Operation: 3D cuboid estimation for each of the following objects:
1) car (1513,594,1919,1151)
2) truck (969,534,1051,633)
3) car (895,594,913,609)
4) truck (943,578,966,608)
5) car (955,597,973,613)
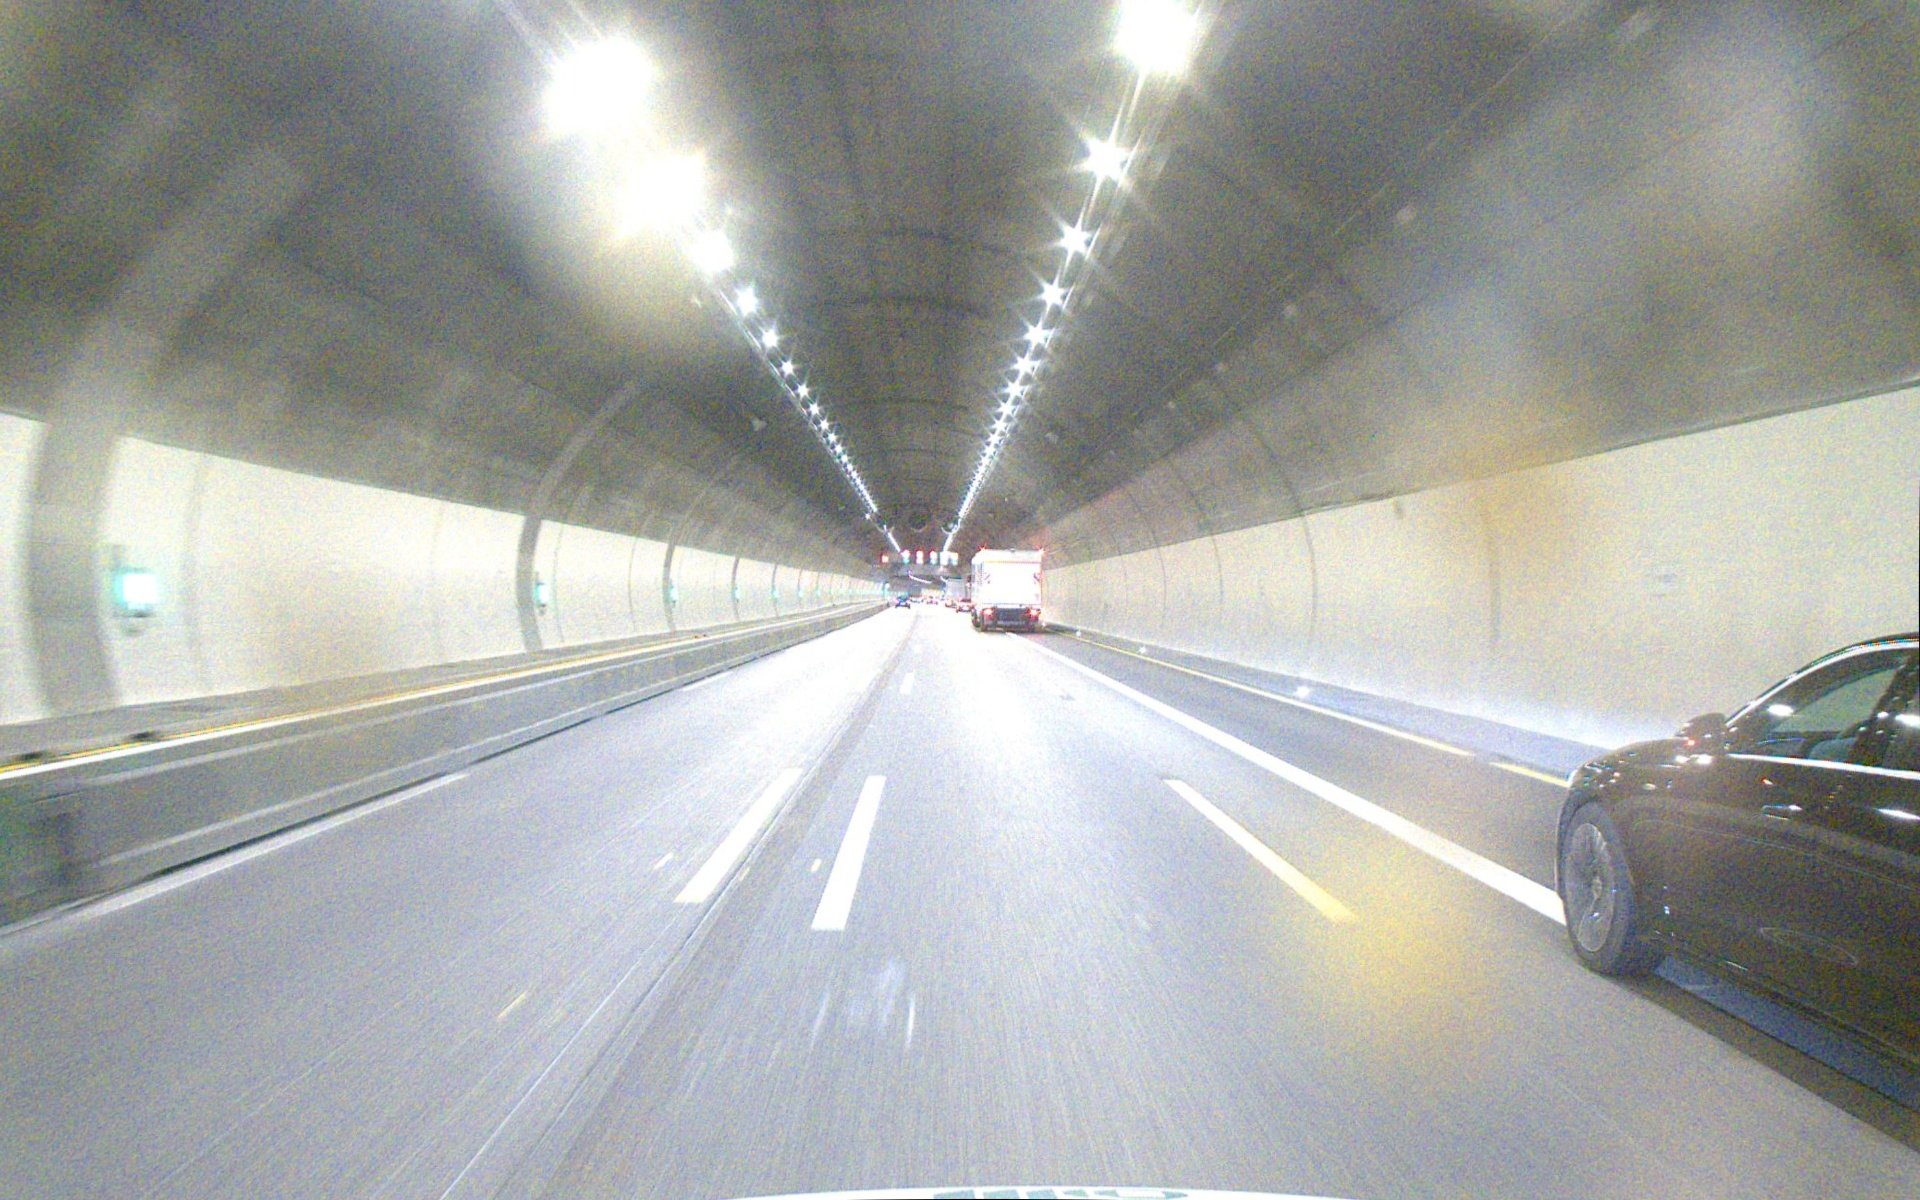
[{"bbox_3d":[3.537,0.765,5.157,1.886,1.498,4.953,2,0,-1],"label":"car"},{"bbox_3d":[2.094,-0.625,73.436,3.029,3.986,10.365,2,-1,-1],"label":"truck"},{"bbox_3d":[-5.866,0.147,172.526,1.723,1.486,4.118,2,1,-1],"label":"car"},{"bbox_3d":[-0.747,-1.000,238.270,3.004,3.986,10.367,2,-1,0],"label":"truck"},{"bbox_3d":[0.439,0.513,162.109,1.704,1.486,3.960,2,1,0],"label":"car"}]
